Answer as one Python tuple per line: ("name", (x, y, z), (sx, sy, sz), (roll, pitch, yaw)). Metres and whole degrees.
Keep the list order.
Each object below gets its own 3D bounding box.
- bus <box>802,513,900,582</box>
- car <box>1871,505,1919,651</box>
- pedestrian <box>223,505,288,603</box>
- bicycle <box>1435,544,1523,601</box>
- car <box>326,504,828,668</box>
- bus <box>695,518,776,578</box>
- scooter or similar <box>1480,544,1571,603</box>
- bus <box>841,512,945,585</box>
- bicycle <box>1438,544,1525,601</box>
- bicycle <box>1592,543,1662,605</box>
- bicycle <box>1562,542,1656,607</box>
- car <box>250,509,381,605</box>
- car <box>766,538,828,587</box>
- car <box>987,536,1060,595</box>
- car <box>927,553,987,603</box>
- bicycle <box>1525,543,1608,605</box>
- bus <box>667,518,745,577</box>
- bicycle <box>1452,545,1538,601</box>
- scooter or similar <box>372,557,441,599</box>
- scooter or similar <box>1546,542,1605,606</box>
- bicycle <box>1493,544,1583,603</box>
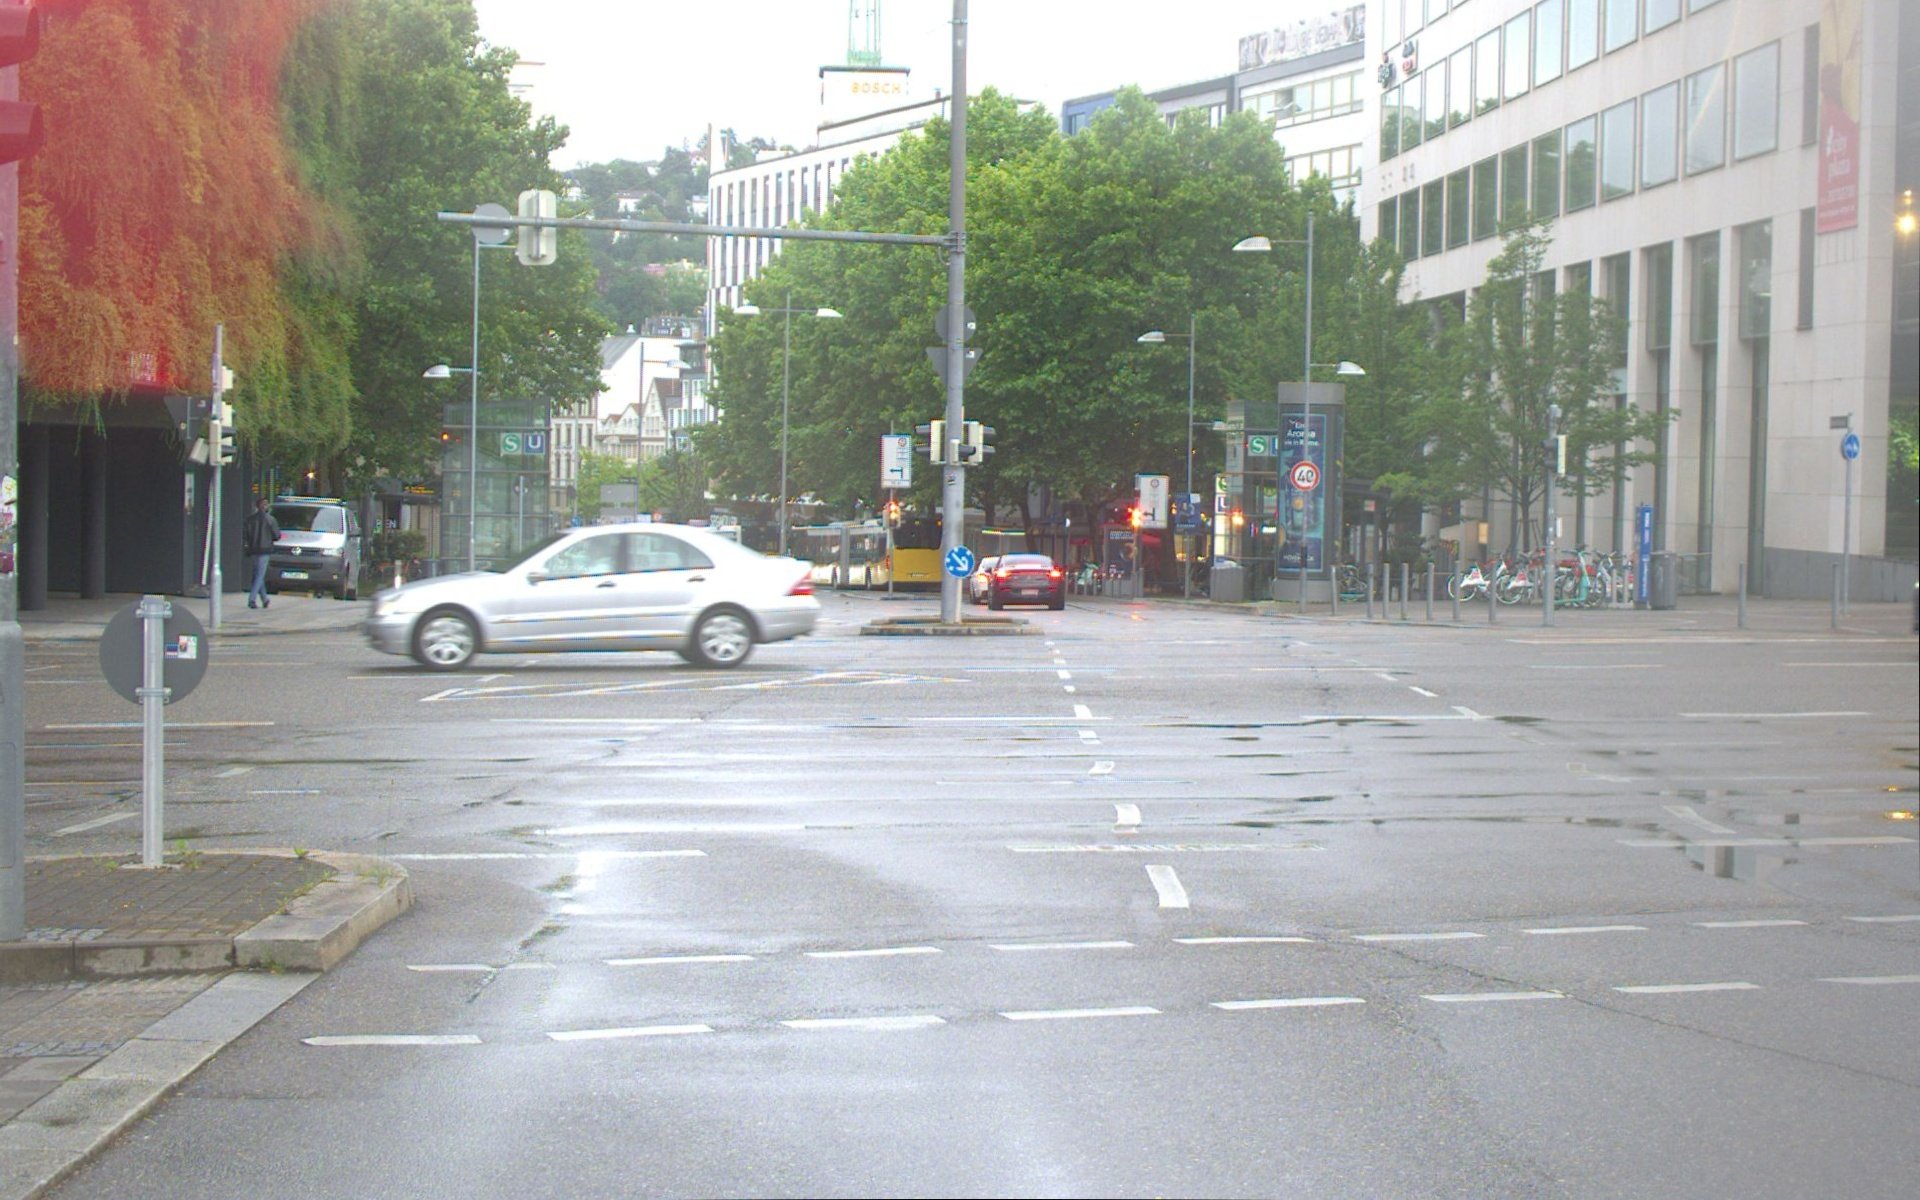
("bus", (-4.902, -2.356, 153.077), (2.627, 2.985, 7.451), (0, 1, -16))
("car", (12.683, -0.219, 38.493), (4.473, 1.603, 1.832), (1, 1, -16))
("pedestrian", (-11.989, -0.784, 58.539), (0.933, 1.638, 0.774), (1, 0, -1))
("bicycle", (10.983, -0.582, 72.763), (1.777, 1.190, 0.586), (1, 0, 2))
("car", (-3.840, -0.175, 34.203), (4.717, 1.472, 2.001), (0, 4, -14))
("bus", (-11.343, -2.650, 173.223), (2.627, 2.985, 7.330), (0, 1, -16))
("scooter or similar", (11.676, -0.554, 70.972), (1.777, 1.190, 0.586), (1, 0, 2))
("bus", (-2.889, -2.206, 145.931), (2.627, 2.985, 7.451), (0, 1, -16))
("bicycle", (11.131, -0.586, 73.398), (1.777, 1.190, 0.586), (1, 0, 2))
("bicycle", (13.002, -0.495, 66.942), (0.586, 1.190, 1.779), (1, 1, 38))
("bicycle", (12.241, -0.485, 64.832), (1.624, 1.190, 0.586), (1, 0, 26))
("car", (-12.772, -0.855, 68.321), (1.870, 1.833, 4.000), (1, 1, -1))
("car", (-6.053, -1.397, 127.176), (2.164, 1.759, 5.113), (-1, 1, -4))
("car", (1.655, -0.905, 90.221), (1.781, 1.503, 4.000), (1, 1, -1))
("car", (-0.115, -0.691, 106.757), (1.781, 1.503, 4.000), (1, 1, -1))
("bicycle", (11.698, -0.508, 66.384), (0.584, 1.190, 1.784), (1, 1, -28))
("bus", (-13.358, -2.778, 180.320), (2.627, 2.985, 7.451), (0, 1, -16))
("bicycle", (11.559, -0.589, 74.315), (1.777, 1.190, 0.586), (1, 0, 2))
("scooter or similar", (-13.278, -0.536, 82.538), (0.623, 1.001, 1.657), (1, 1, 38))
("scooter or similar", (11.487, -0.488, 64.148), (0.963, 1.190, 0.454), (1, 1, 40))
("bicycle", (12.030, -0.555, 71.594), (1.777, 1.190, 0.586), (1, 0, 2))
